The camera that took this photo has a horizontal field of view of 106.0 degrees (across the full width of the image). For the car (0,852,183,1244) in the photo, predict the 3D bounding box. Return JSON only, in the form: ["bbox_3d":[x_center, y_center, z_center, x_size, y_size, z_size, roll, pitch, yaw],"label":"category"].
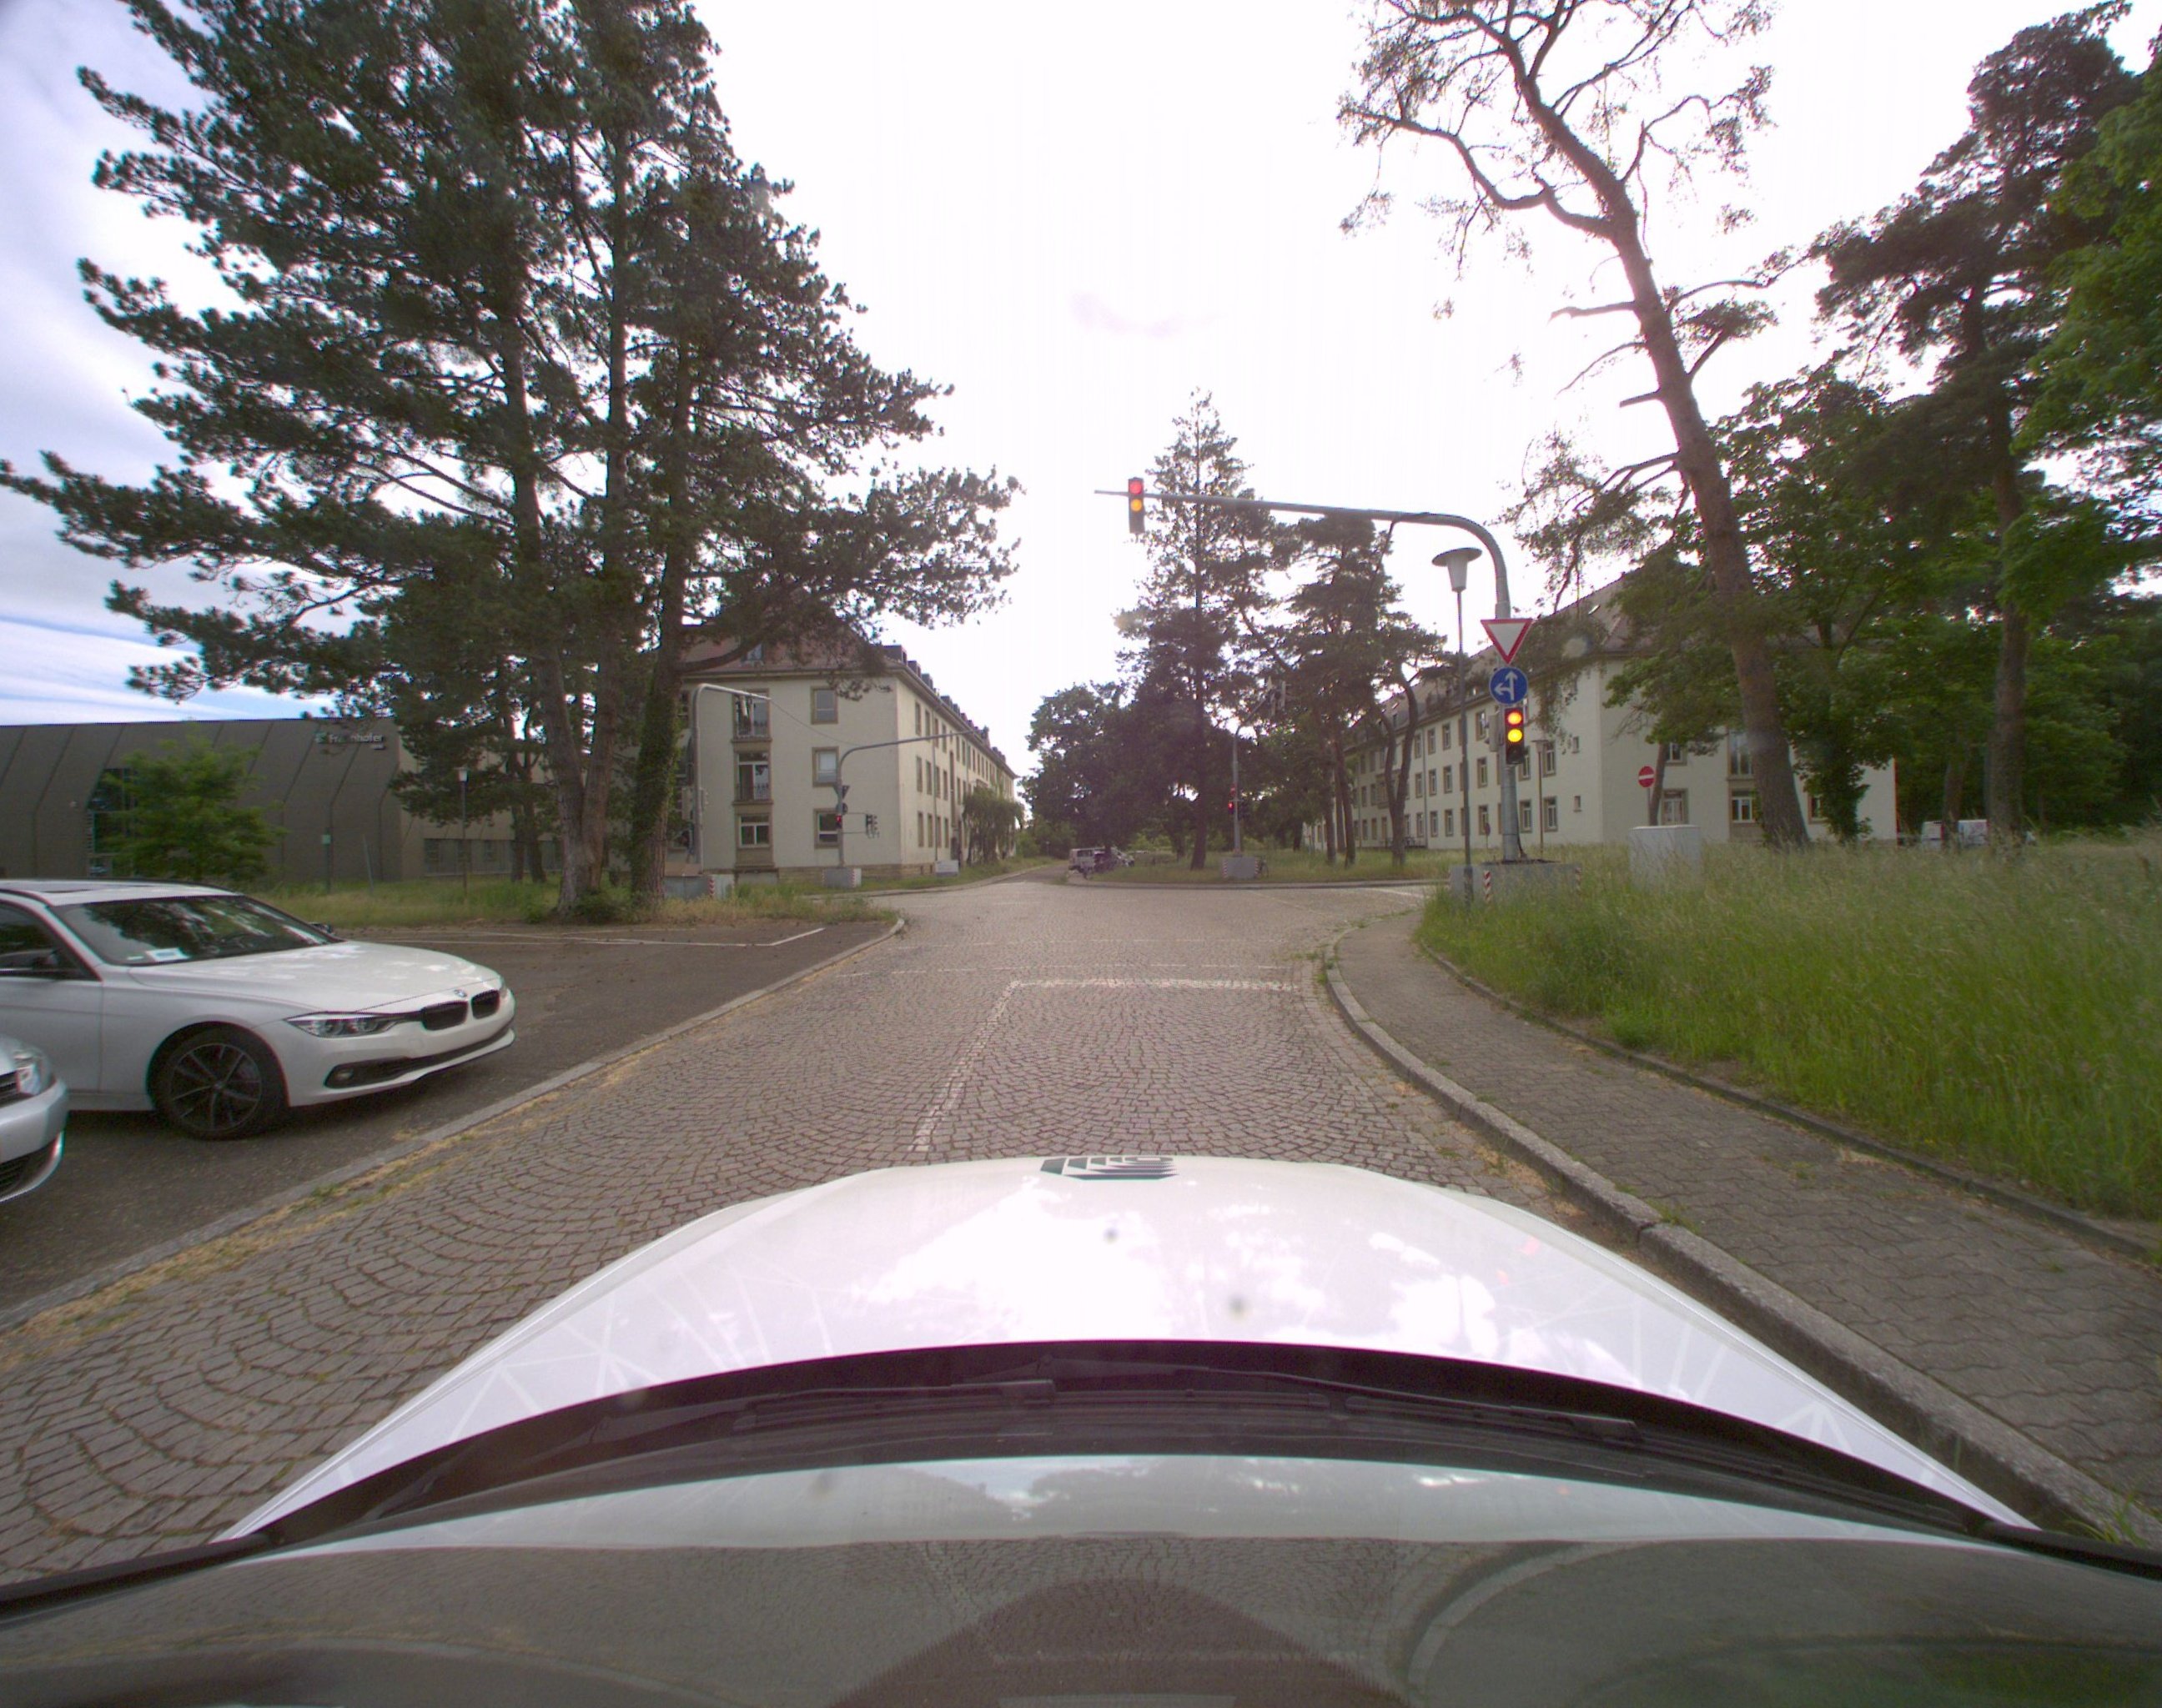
[{"bbox_3d":[-6.257,0.744,2.900,3.979,1.547,1.722,1,0,-4],"label":"car"}]

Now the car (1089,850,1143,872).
[{"bbox_3d":[2.630,0.506,62.053,3.924,1.544,1.997,-1,0,-4],"label":"car"}]

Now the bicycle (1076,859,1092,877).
[{"bbox_3d":[0.192,0.786,45.758,0.614,0.963,2.081,-1,0,8],"label":"bicycle"}]

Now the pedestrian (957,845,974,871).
[{"bbox_3d":[-8.961,0.317,63.167,1.081,2.013,1.023,-1,0,6],"label":"pedestrian"}]

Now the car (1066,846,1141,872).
[{"bbox_3d":[1.803,0.375,65.434,5.695,1.910,2.221,-1,0,-12],"label":"car"}]

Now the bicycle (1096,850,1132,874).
[{"bbox_3d":[1.912,0.468,47.536,2.062,1.378,0.620,-1,0,1],"label":"bicycle"}]

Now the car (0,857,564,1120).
[{"bbox_3d":[-6.441,0.780,5.504,4.636,1.443,1.800,1,0,-3],"label":"car"}]

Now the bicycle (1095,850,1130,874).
[{"bbox_3d":[1.914,0.478,49.629,2.062,1.378,0.620,-1,0,1],"label":"bicycle"}]

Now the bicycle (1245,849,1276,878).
[{"bbox_3d":[7.731,0.404,35.195,0.905,1.177,1.874,-1,0,0],"label":"bicycle"}]

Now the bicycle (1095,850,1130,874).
[{"bbox_3d":[1.890,0.474,48.833,2.062,1.378,0.620,-1,0,1],"label":"bicycle"}]

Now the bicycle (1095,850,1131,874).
[{"bbox_3d":[1.881,0.471,48.208,2.062,1.378,0.620,-1,0,1],"label":"bicycle"}]

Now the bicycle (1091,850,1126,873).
[{"bbox_3d":[1.704,0.479,50.431,2.062,1.378,0.620,-1,0,1],"label":"bicycle"}]

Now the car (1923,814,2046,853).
[{"bbox_3d":[56.905,-1.243,51.357,5.160,2.288,2.214,-1,0,2],"label":"car"}]

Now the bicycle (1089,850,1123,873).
[{"bbox_3d":[1.597,0.487,51.918,2.062,1.378,0.620,-1,0,1],"label":"bicycle"}]
